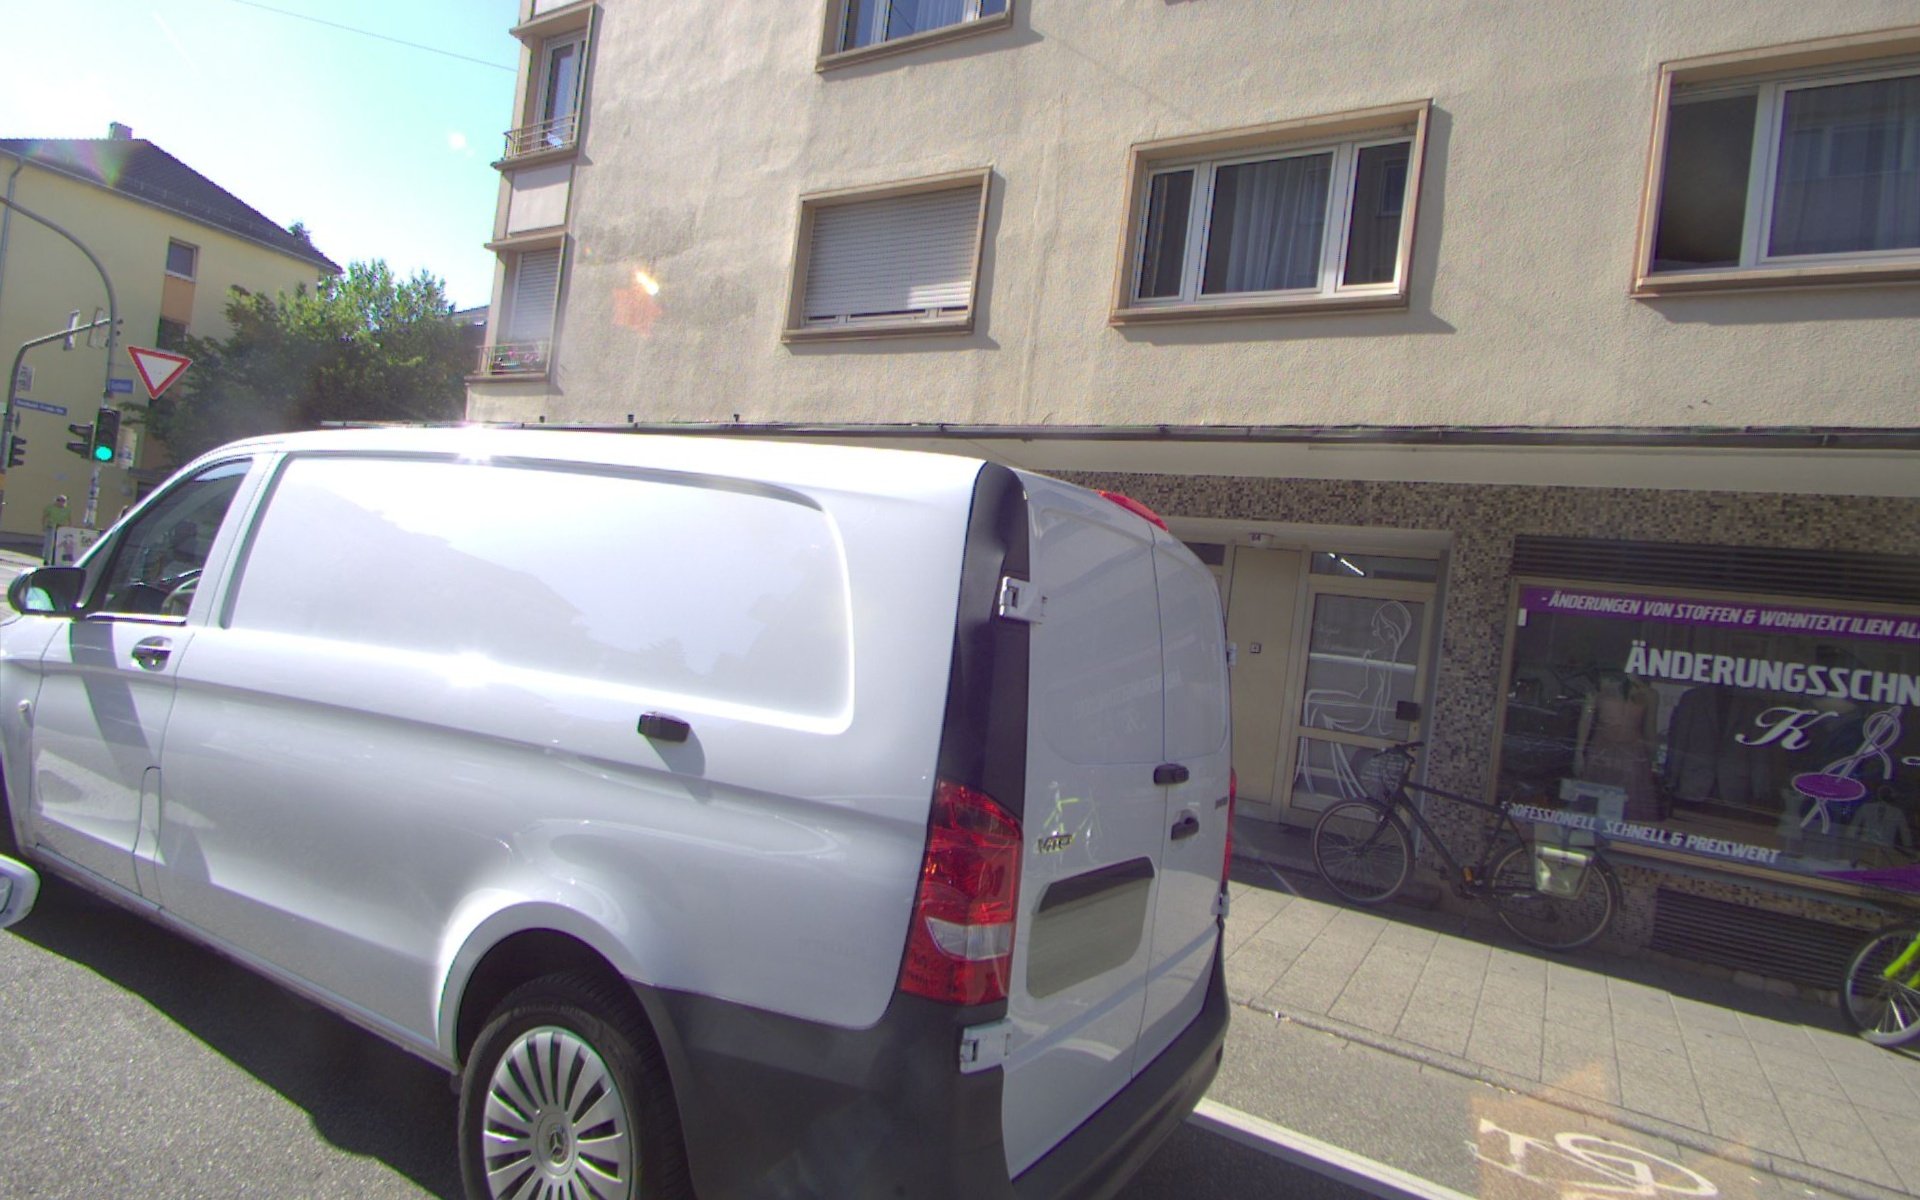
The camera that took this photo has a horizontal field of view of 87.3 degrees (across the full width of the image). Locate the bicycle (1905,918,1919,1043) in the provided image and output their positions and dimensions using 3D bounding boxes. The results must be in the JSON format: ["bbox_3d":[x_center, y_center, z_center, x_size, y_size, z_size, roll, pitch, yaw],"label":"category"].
[{"bbox_3d":[5.500,1.818,4.657,0.710,1.120,1.495,7,-1,0],"label":"bicycle"}]

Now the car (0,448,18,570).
[{"bbox_3d":[-10.852,-0.648,9.116,4.972,1.961,1.973,6,-3,32],"label":"car"}]

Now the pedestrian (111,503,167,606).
[{"bbox_3d":[-15.549,-0.861,19.054,0.620,1.844,0.602,7,0,45],"label":"pedestrian"}]

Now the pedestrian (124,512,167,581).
[{"bbox_3d":[-19.951,-1.309,24.648,0.530,1.590,0.540,7,0,31],"label":"pedestrian"}]

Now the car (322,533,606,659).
[{"bbox_3d":[-8.517,0.004,17.614,1.795,1.682,3.994,7,-1,32],"label":"car"}]

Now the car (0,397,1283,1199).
[{"bbox_3d":[-1.578,0.464,3.608,4.751,1.832,1.972,6,-1,30],"label":"car"}]

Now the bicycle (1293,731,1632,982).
[{"bbox_3d":[3.105,1.533,6.348,1.772,1.099,0.406,7,2,37],"label":"bicycle"}]

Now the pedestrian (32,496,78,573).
[{"bbox_3d":[-22.303,-1.616,24.801,0.612,1.783,0.526,7,0,30],"label":"pedestrian"}]
